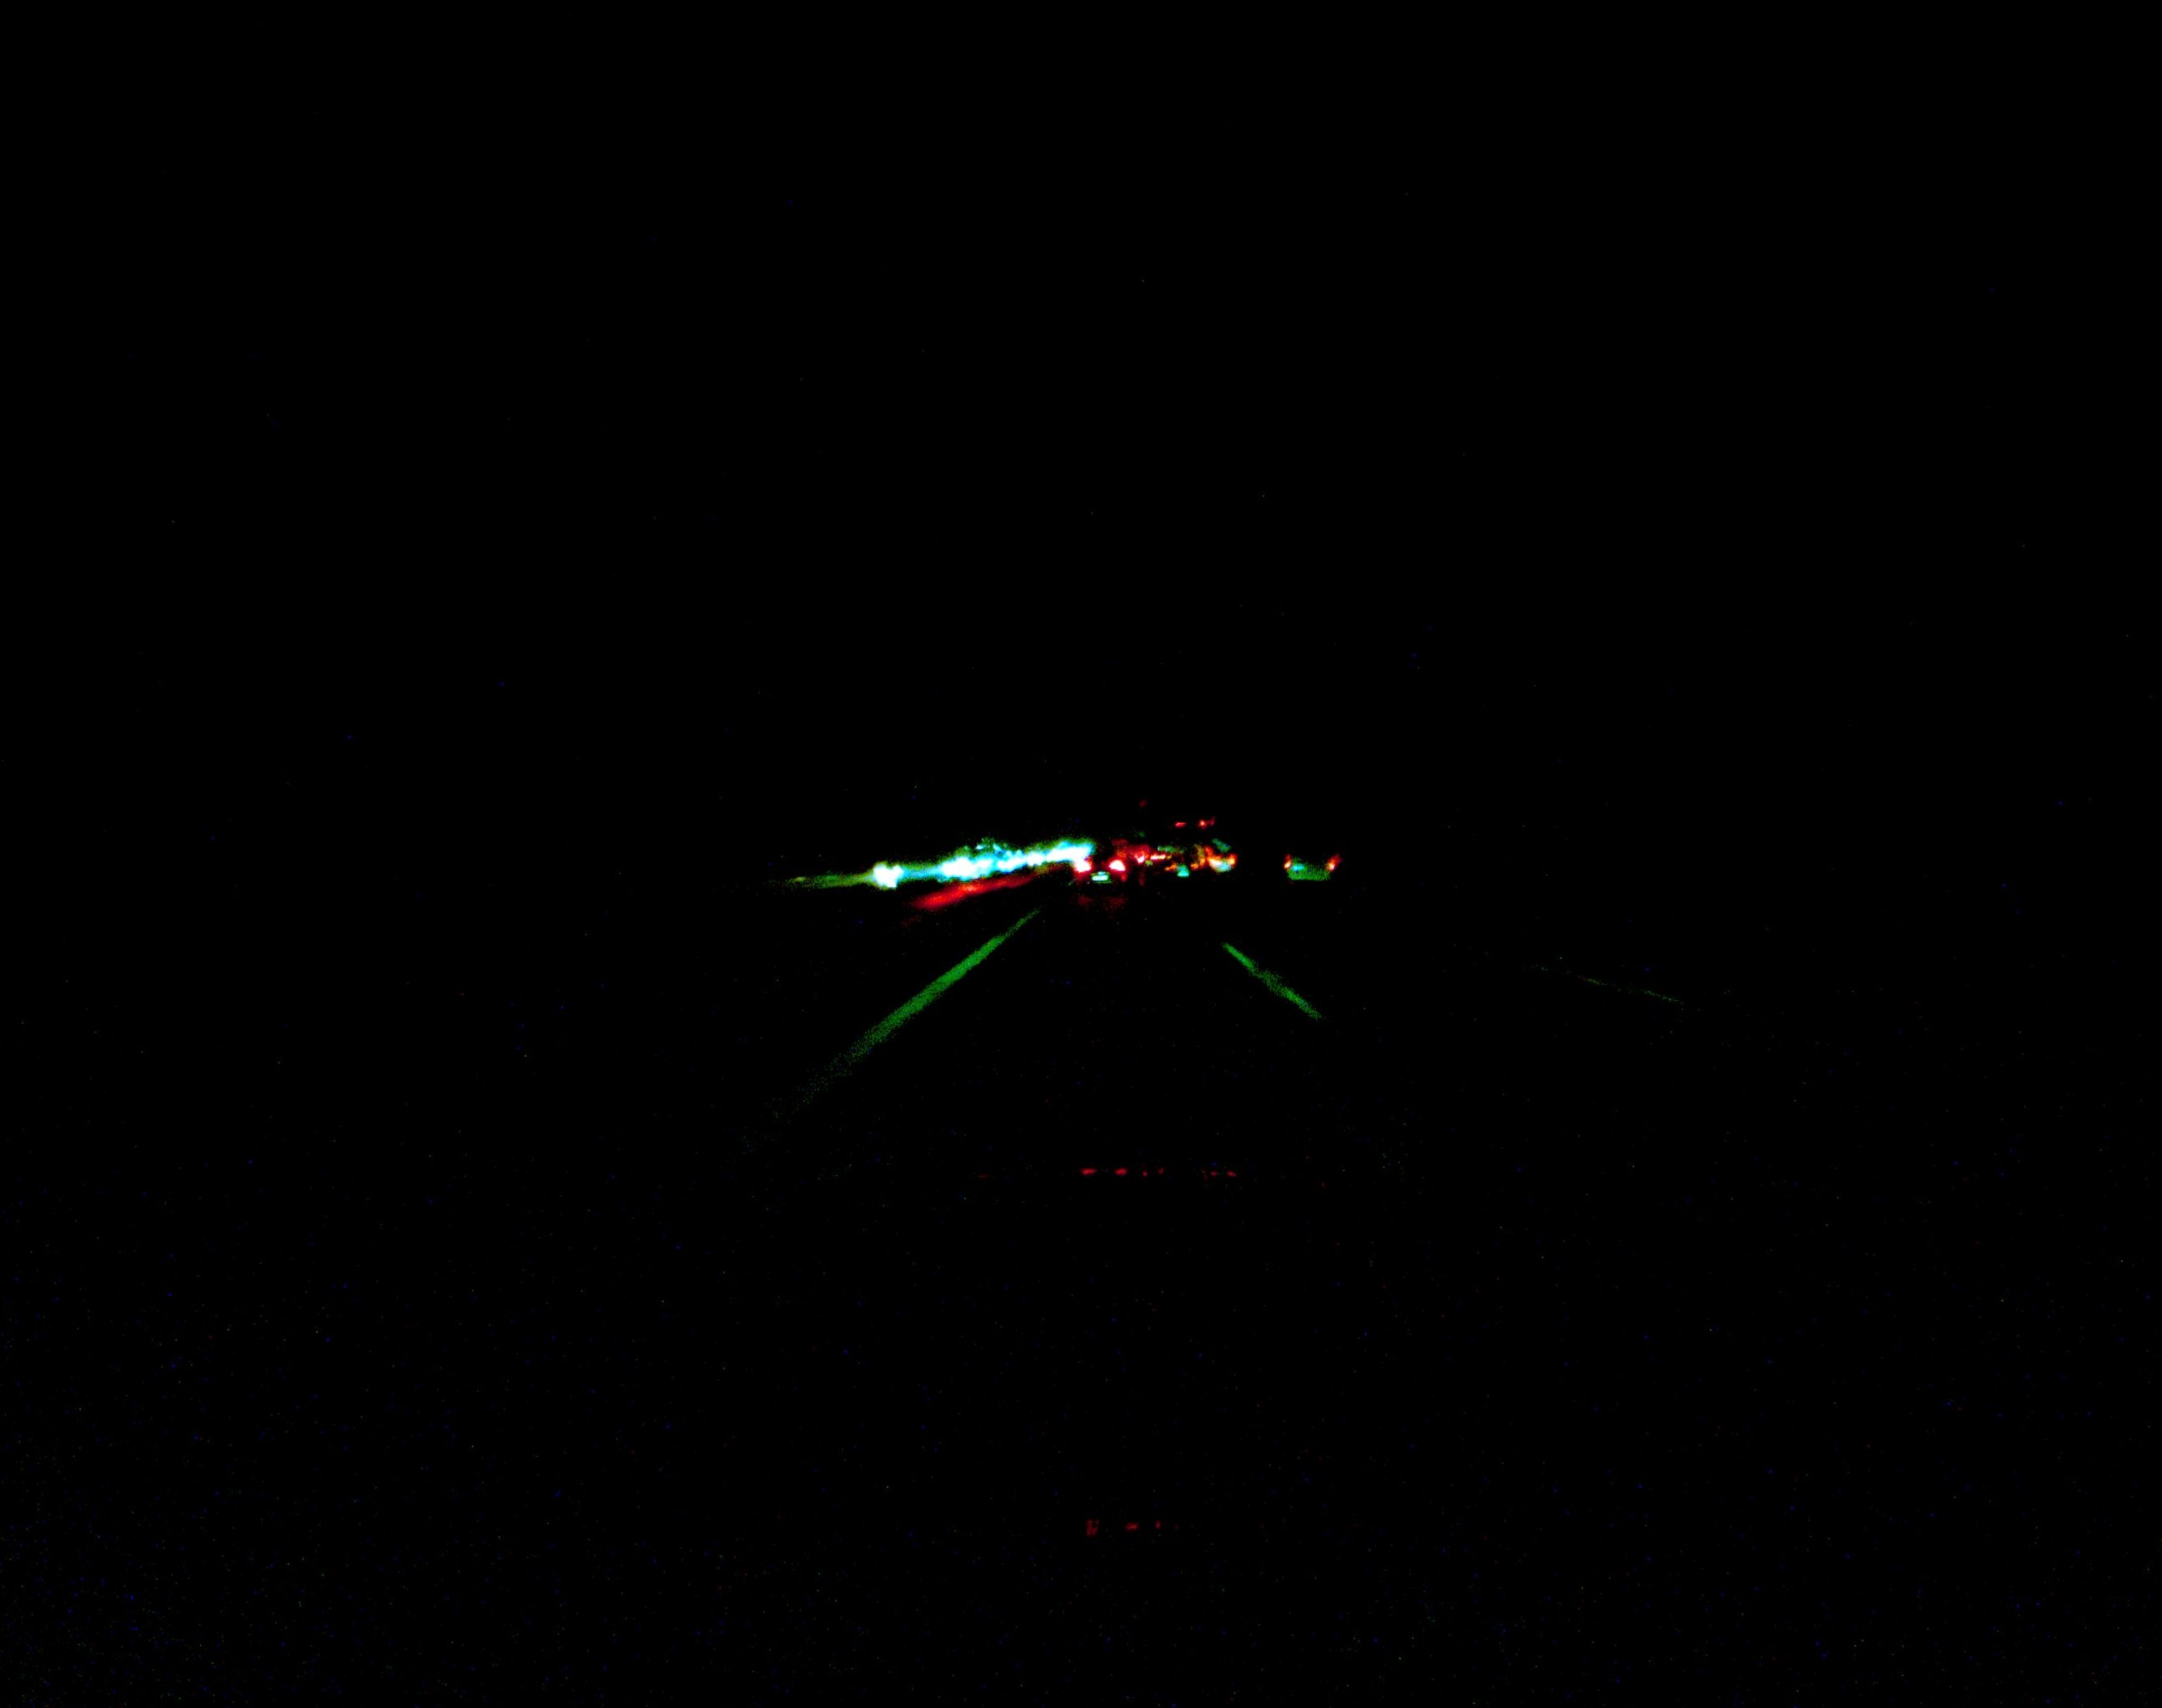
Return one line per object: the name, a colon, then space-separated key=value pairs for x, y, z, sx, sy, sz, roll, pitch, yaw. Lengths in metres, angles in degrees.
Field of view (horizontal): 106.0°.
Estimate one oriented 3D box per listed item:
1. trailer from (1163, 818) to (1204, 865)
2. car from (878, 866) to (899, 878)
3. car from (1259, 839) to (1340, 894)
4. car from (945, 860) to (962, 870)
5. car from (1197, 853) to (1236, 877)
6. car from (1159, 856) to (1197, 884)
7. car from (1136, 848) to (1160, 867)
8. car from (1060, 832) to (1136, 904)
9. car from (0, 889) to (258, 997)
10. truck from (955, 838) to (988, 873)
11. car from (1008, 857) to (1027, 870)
trailer: x=9.928 y=-1.168 z=79.978 sx=2.793 sy=4.212 sz=12.101 roll=-1 pitch=0 yaw=2
car: x=-21.394 y=2.002 z=90.572 sx=1.404 sy=1.126 sz=3.543 roll=-3 pitch=0 yaw=2
car: x=8.762 y=0.441 z=33.140 sx=2.038 sy=1.974 sz=5.411 roll=-3 pitch=0 yaw=3
car: x=-17.405 y=1.513 z=111.574 sx=1.604 sy=1.230 sz=3.683 roll=-3 pitch=0 yaw=2
car: x=9.183 y=0.700 z=55.536 sx=1.887 sy=1.486 sz=4.963 roll=0 pitch=1 yaw=1
car: x=5.077 y=0.799 z=43.030 sx=1.607 sy=1.412 sz=3.792 roll=-1 pitch=0 yaw=1
car: x=5.921 y=0.277 z=72.372 sx=1.877 sy=1.588 sz=4.002 roll=-1 pitch=0 yaw=2
car: x=0.650 y=0.501 z=33.228 sx=2.701 sy=2.534 sz=5.831 roll=-3 pitch=0 yaw=0
car: x=-22.764 y=1.951 z=18.721 sx=1.986 sy=1.948 sz=5.389 roll=-3 pitch=0 yaw=2
truck: x=-14.104 y=0.183 z=105.181 sx=3.043 sy=4.293 sz=6.086 roll=-3 pitch=0 yaw=2
car: x=-7.933 y=1.145 z=102.051 sx=1.986 sy=1.420 sz=4.002 roll=-3 pitch=0 yaw=2
